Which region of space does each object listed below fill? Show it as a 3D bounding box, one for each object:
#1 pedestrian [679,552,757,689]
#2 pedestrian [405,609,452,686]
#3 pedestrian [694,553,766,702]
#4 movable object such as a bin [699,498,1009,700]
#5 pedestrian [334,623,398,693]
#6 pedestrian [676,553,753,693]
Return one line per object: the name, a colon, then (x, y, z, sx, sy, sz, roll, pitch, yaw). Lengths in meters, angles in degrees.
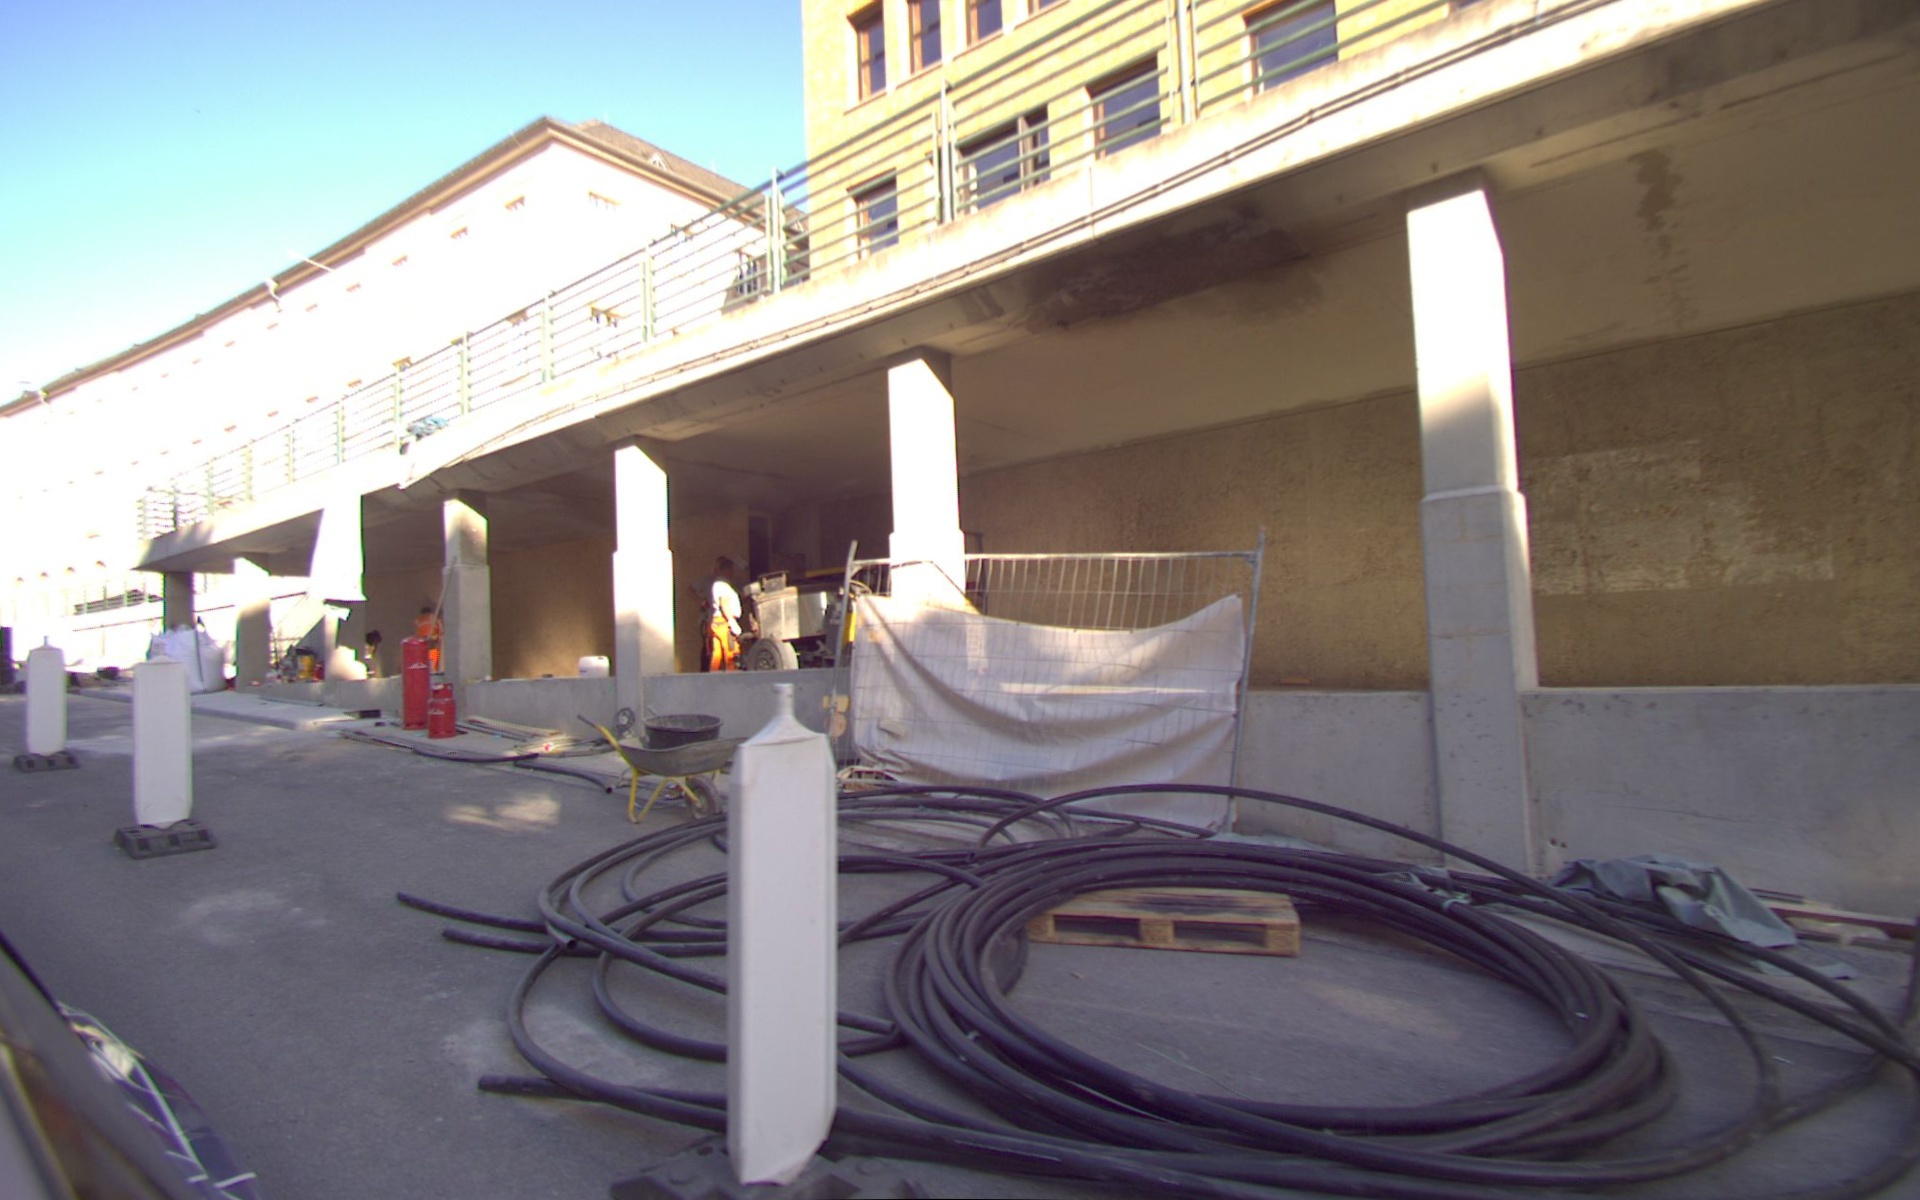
pedestrian: (-3.617, 0.295, 15.127, 0.935, 1.971, 0.671, -1, -1, 39)
pedestrian: (-11.272, 1.005, 21.471, 0.628, 1.592, 0.645, -1, -2, 29)
pedestrian: (-2.920, 0.338, 12.842, 0.649, 1.818, 0.625, 0, -1, -43)
movable object such as a bin: (-1.261, 0.040, 11.749, 3.153, 2.002, 1.868, -2, -2, 37)
pedestrian: (-12.288, 1.183, 20.939, 0.780, 1.409, 0.865, -1, -2, 30)
pedestrian: (-3.330, 0.311, 13.743, 0.708, 1.828, 0.698, -2, -1, 37)
